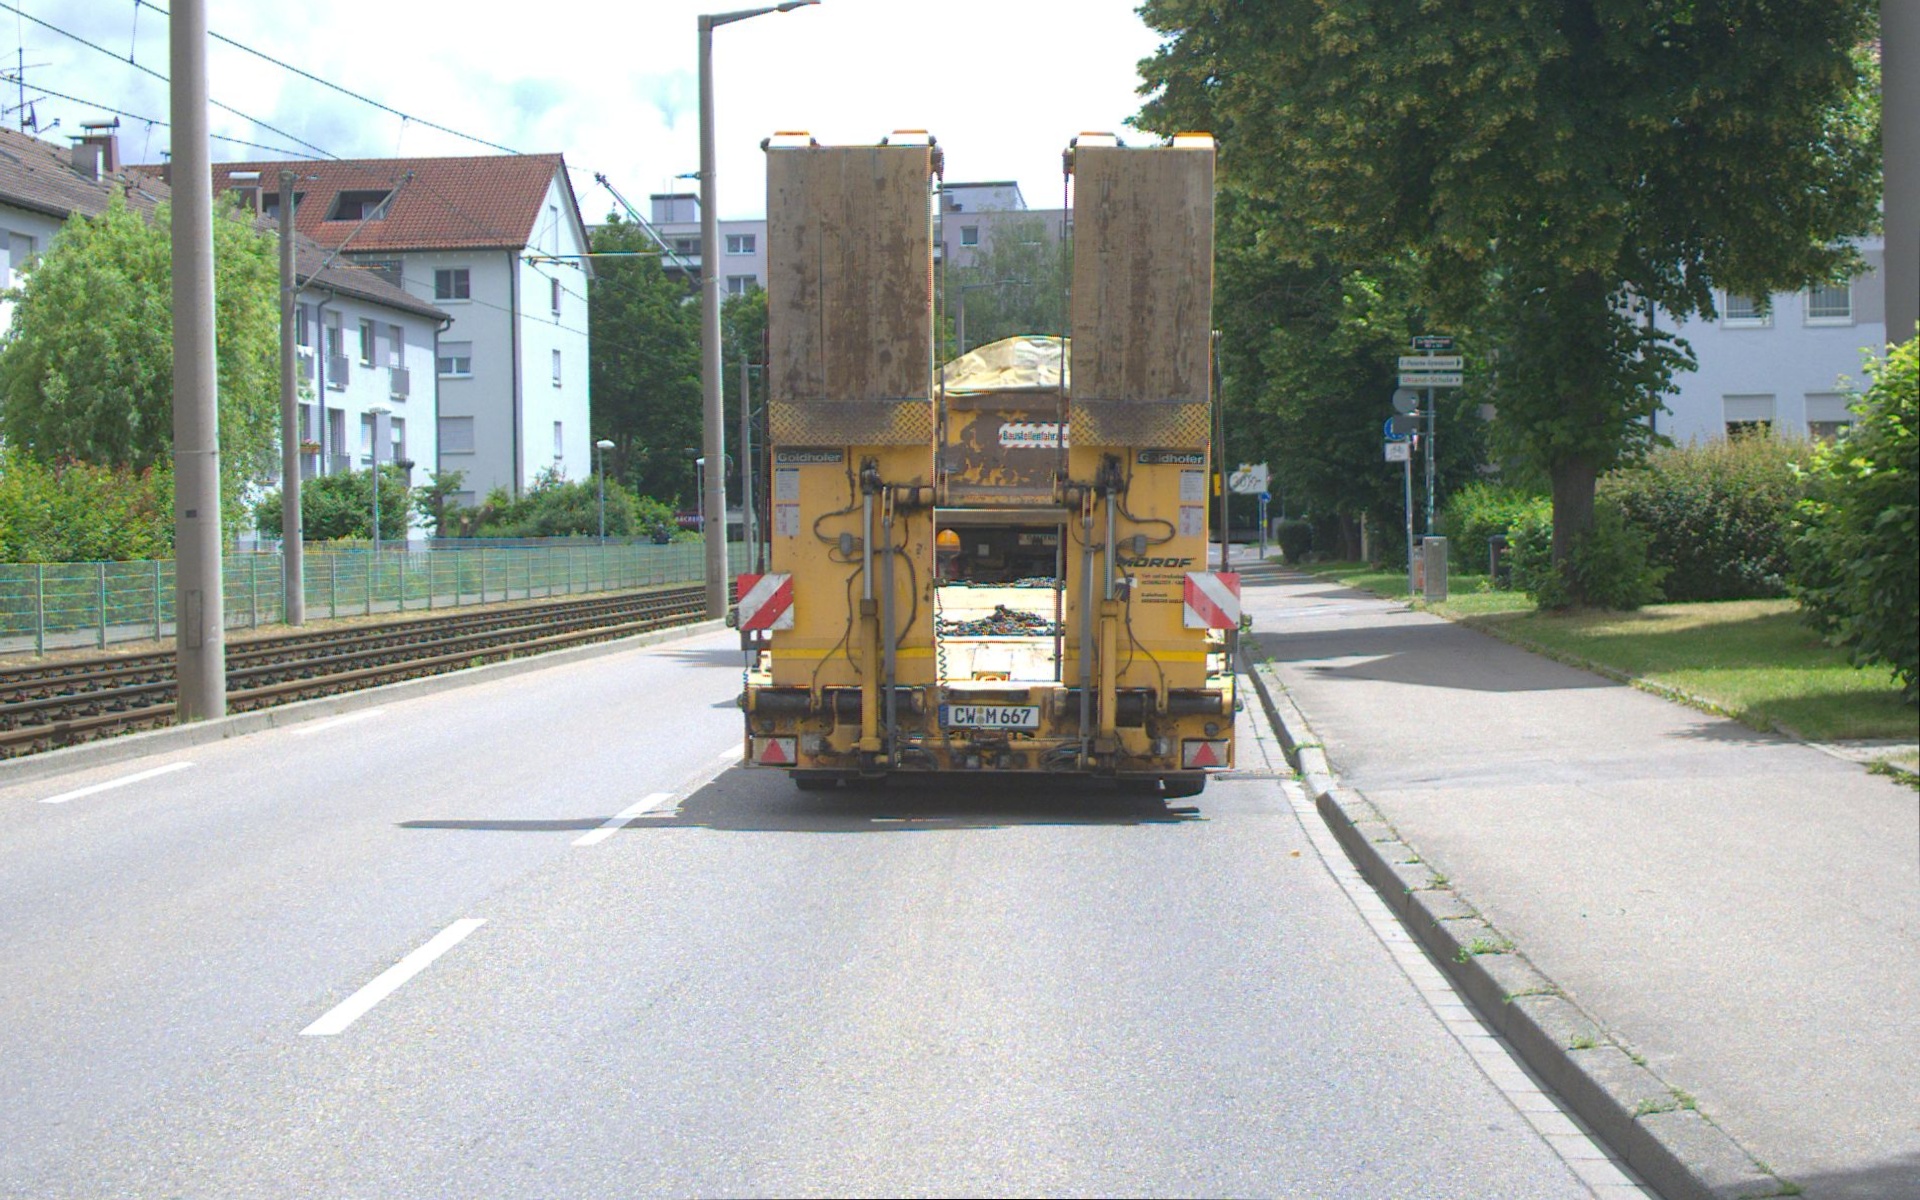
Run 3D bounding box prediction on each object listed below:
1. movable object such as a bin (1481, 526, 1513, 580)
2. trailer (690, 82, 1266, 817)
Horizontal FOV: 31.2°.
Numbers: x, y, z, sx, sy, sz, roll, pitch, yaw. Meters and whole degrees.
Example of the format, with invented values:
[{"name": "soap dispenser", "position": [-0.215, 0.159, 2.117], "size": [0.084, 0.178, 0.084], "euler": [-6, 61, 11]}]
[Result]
[{"name": "movable object such as a bin", "position": [9.731, -0.848, 62.303], "size": [0.496, 0.951, 0.580], "euler": [-2, 1, 4]}, {"name": "trailer", "position": [0.071, -0.862, 23.352], "size": [2.827, 3.633, 12.354], "euler": [1, 1, 0]}]
